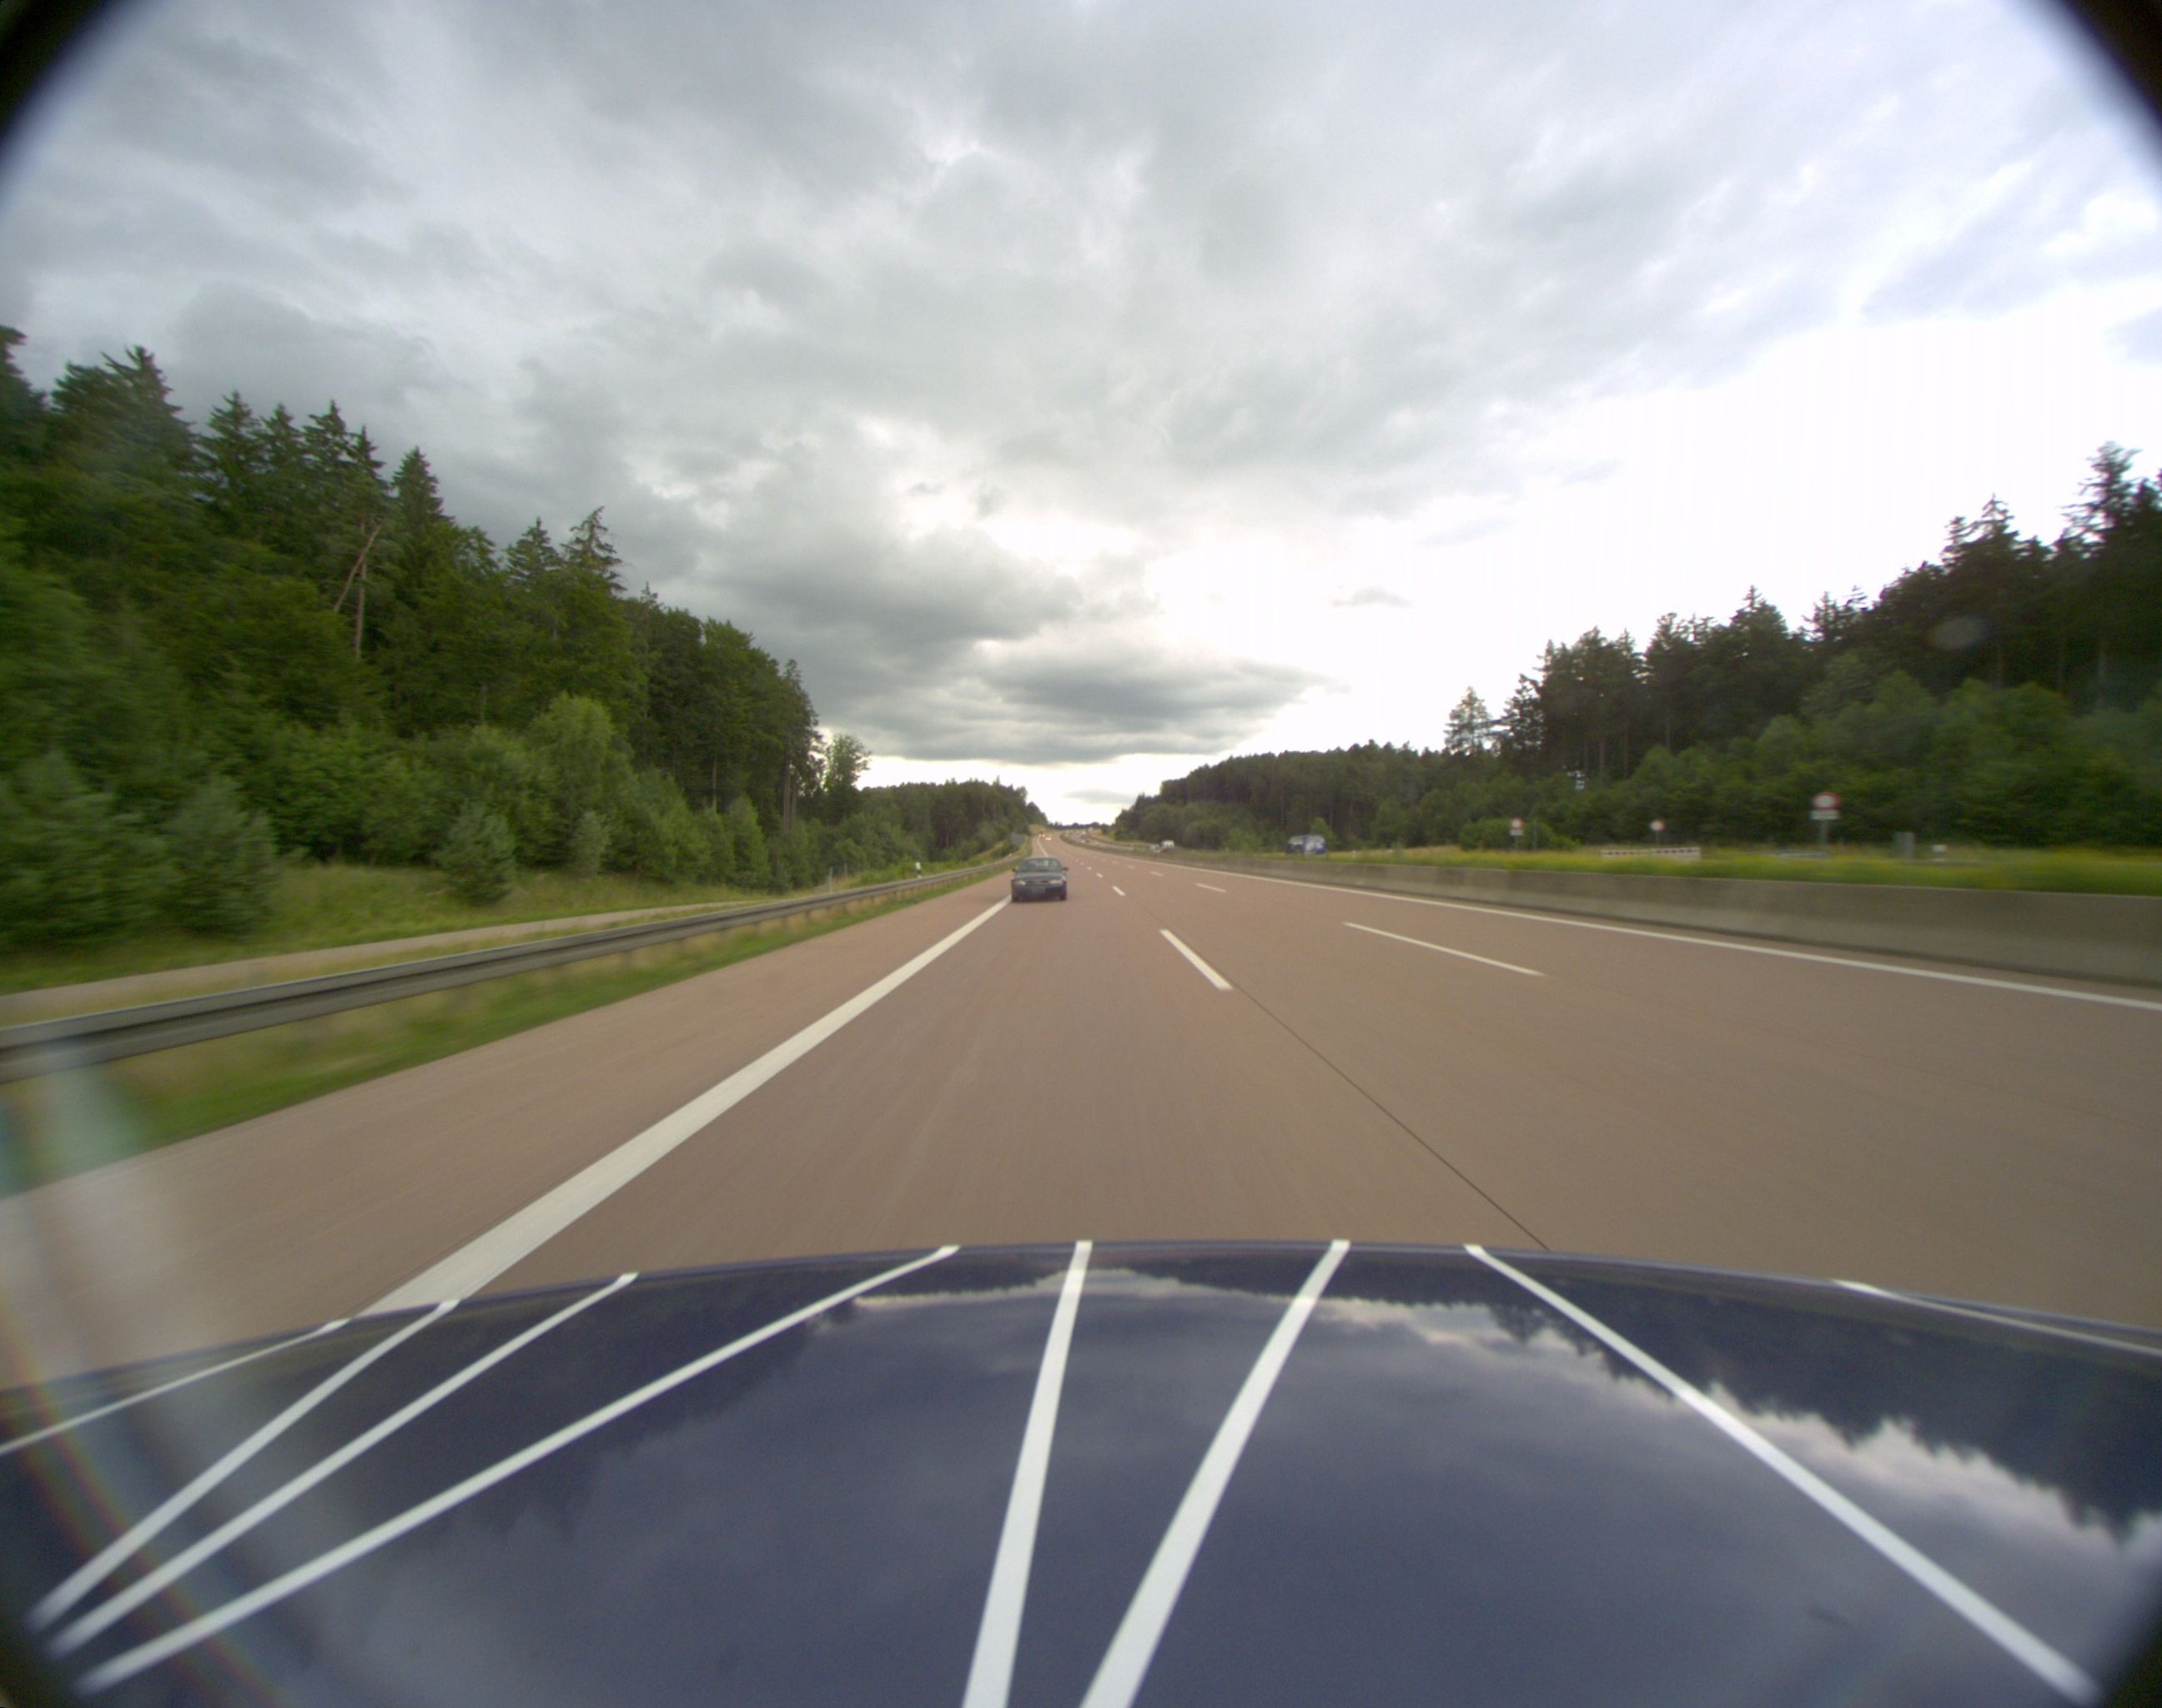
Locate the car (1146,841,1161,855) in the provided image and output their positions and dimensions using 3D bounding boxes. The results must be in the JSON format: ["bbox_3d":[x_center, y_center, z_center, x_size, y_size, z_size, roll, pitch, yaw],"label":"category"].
[{"bbox_3d":[14.321,-1.183,150.431,2.039,2.595,6.352,-2,1,-2],"label":"car"}]

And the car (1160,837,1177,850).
[{"bbox_3d":[18.205,-2.168,158.430,2.466,2.595,7.326,-2,1,-2],"label":"car"}]

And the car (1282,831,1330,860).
[{"bbox_3d":[18.372,-0.663,62.318,1.999,2.229,6.039,-2,0,-1],"label":"car"}]

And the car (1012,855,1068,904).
[{"bbox_3d":[-1.301,0.782,25.275,1.676,1.395,4.231,-1,1,-2],"label":"car"}]
